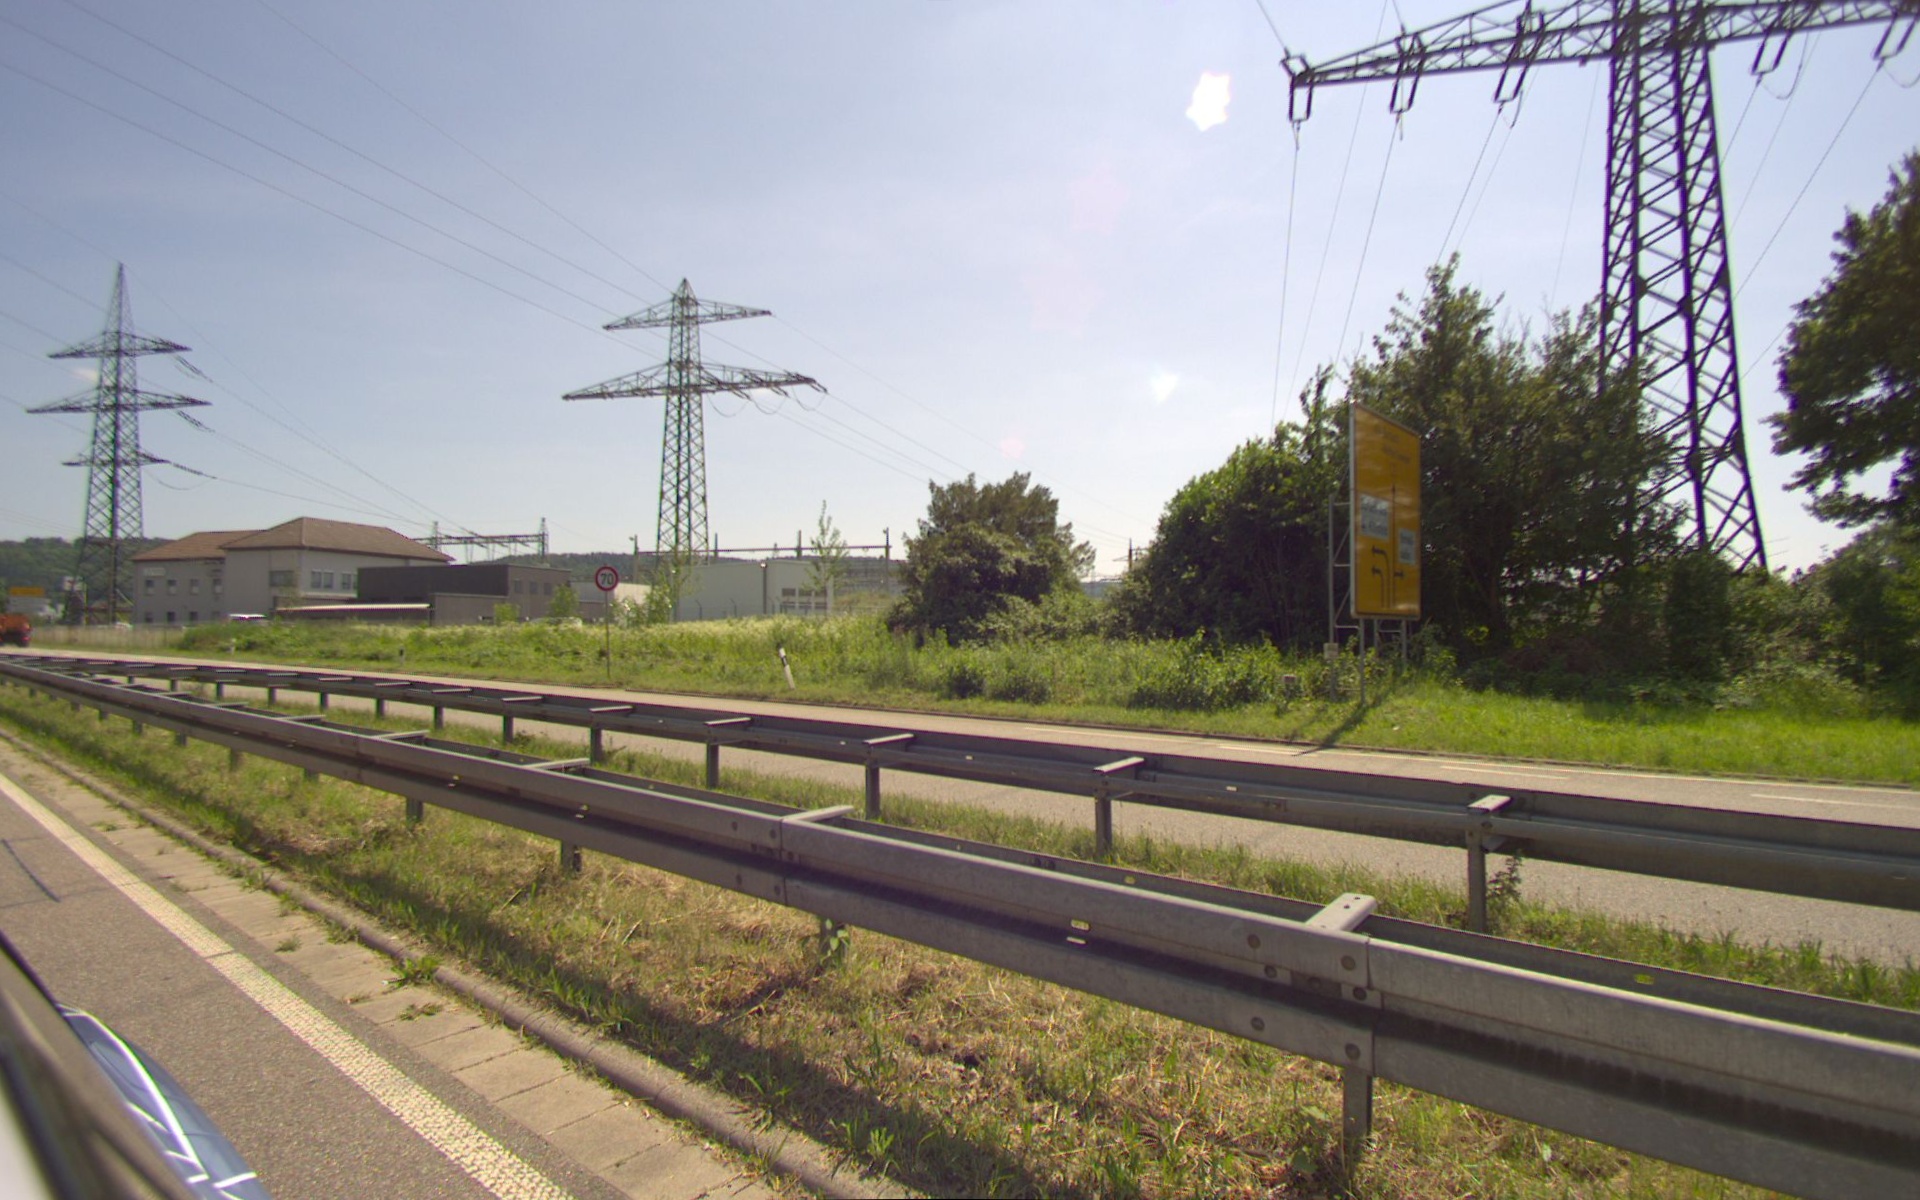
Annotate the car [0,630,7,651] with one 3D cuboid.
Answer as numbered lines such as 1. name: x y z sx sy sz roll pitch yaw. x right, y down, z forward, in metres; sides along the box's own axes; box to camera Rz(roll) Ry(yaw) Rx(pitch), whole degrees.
1. car: -95.426 3.976 99.393 3.993 1.929 1.975 0 0 37

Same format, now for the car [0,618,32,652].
1. car: -87.840 3.231 93.297 5.634 3.084 2.574 -2 -3 40
